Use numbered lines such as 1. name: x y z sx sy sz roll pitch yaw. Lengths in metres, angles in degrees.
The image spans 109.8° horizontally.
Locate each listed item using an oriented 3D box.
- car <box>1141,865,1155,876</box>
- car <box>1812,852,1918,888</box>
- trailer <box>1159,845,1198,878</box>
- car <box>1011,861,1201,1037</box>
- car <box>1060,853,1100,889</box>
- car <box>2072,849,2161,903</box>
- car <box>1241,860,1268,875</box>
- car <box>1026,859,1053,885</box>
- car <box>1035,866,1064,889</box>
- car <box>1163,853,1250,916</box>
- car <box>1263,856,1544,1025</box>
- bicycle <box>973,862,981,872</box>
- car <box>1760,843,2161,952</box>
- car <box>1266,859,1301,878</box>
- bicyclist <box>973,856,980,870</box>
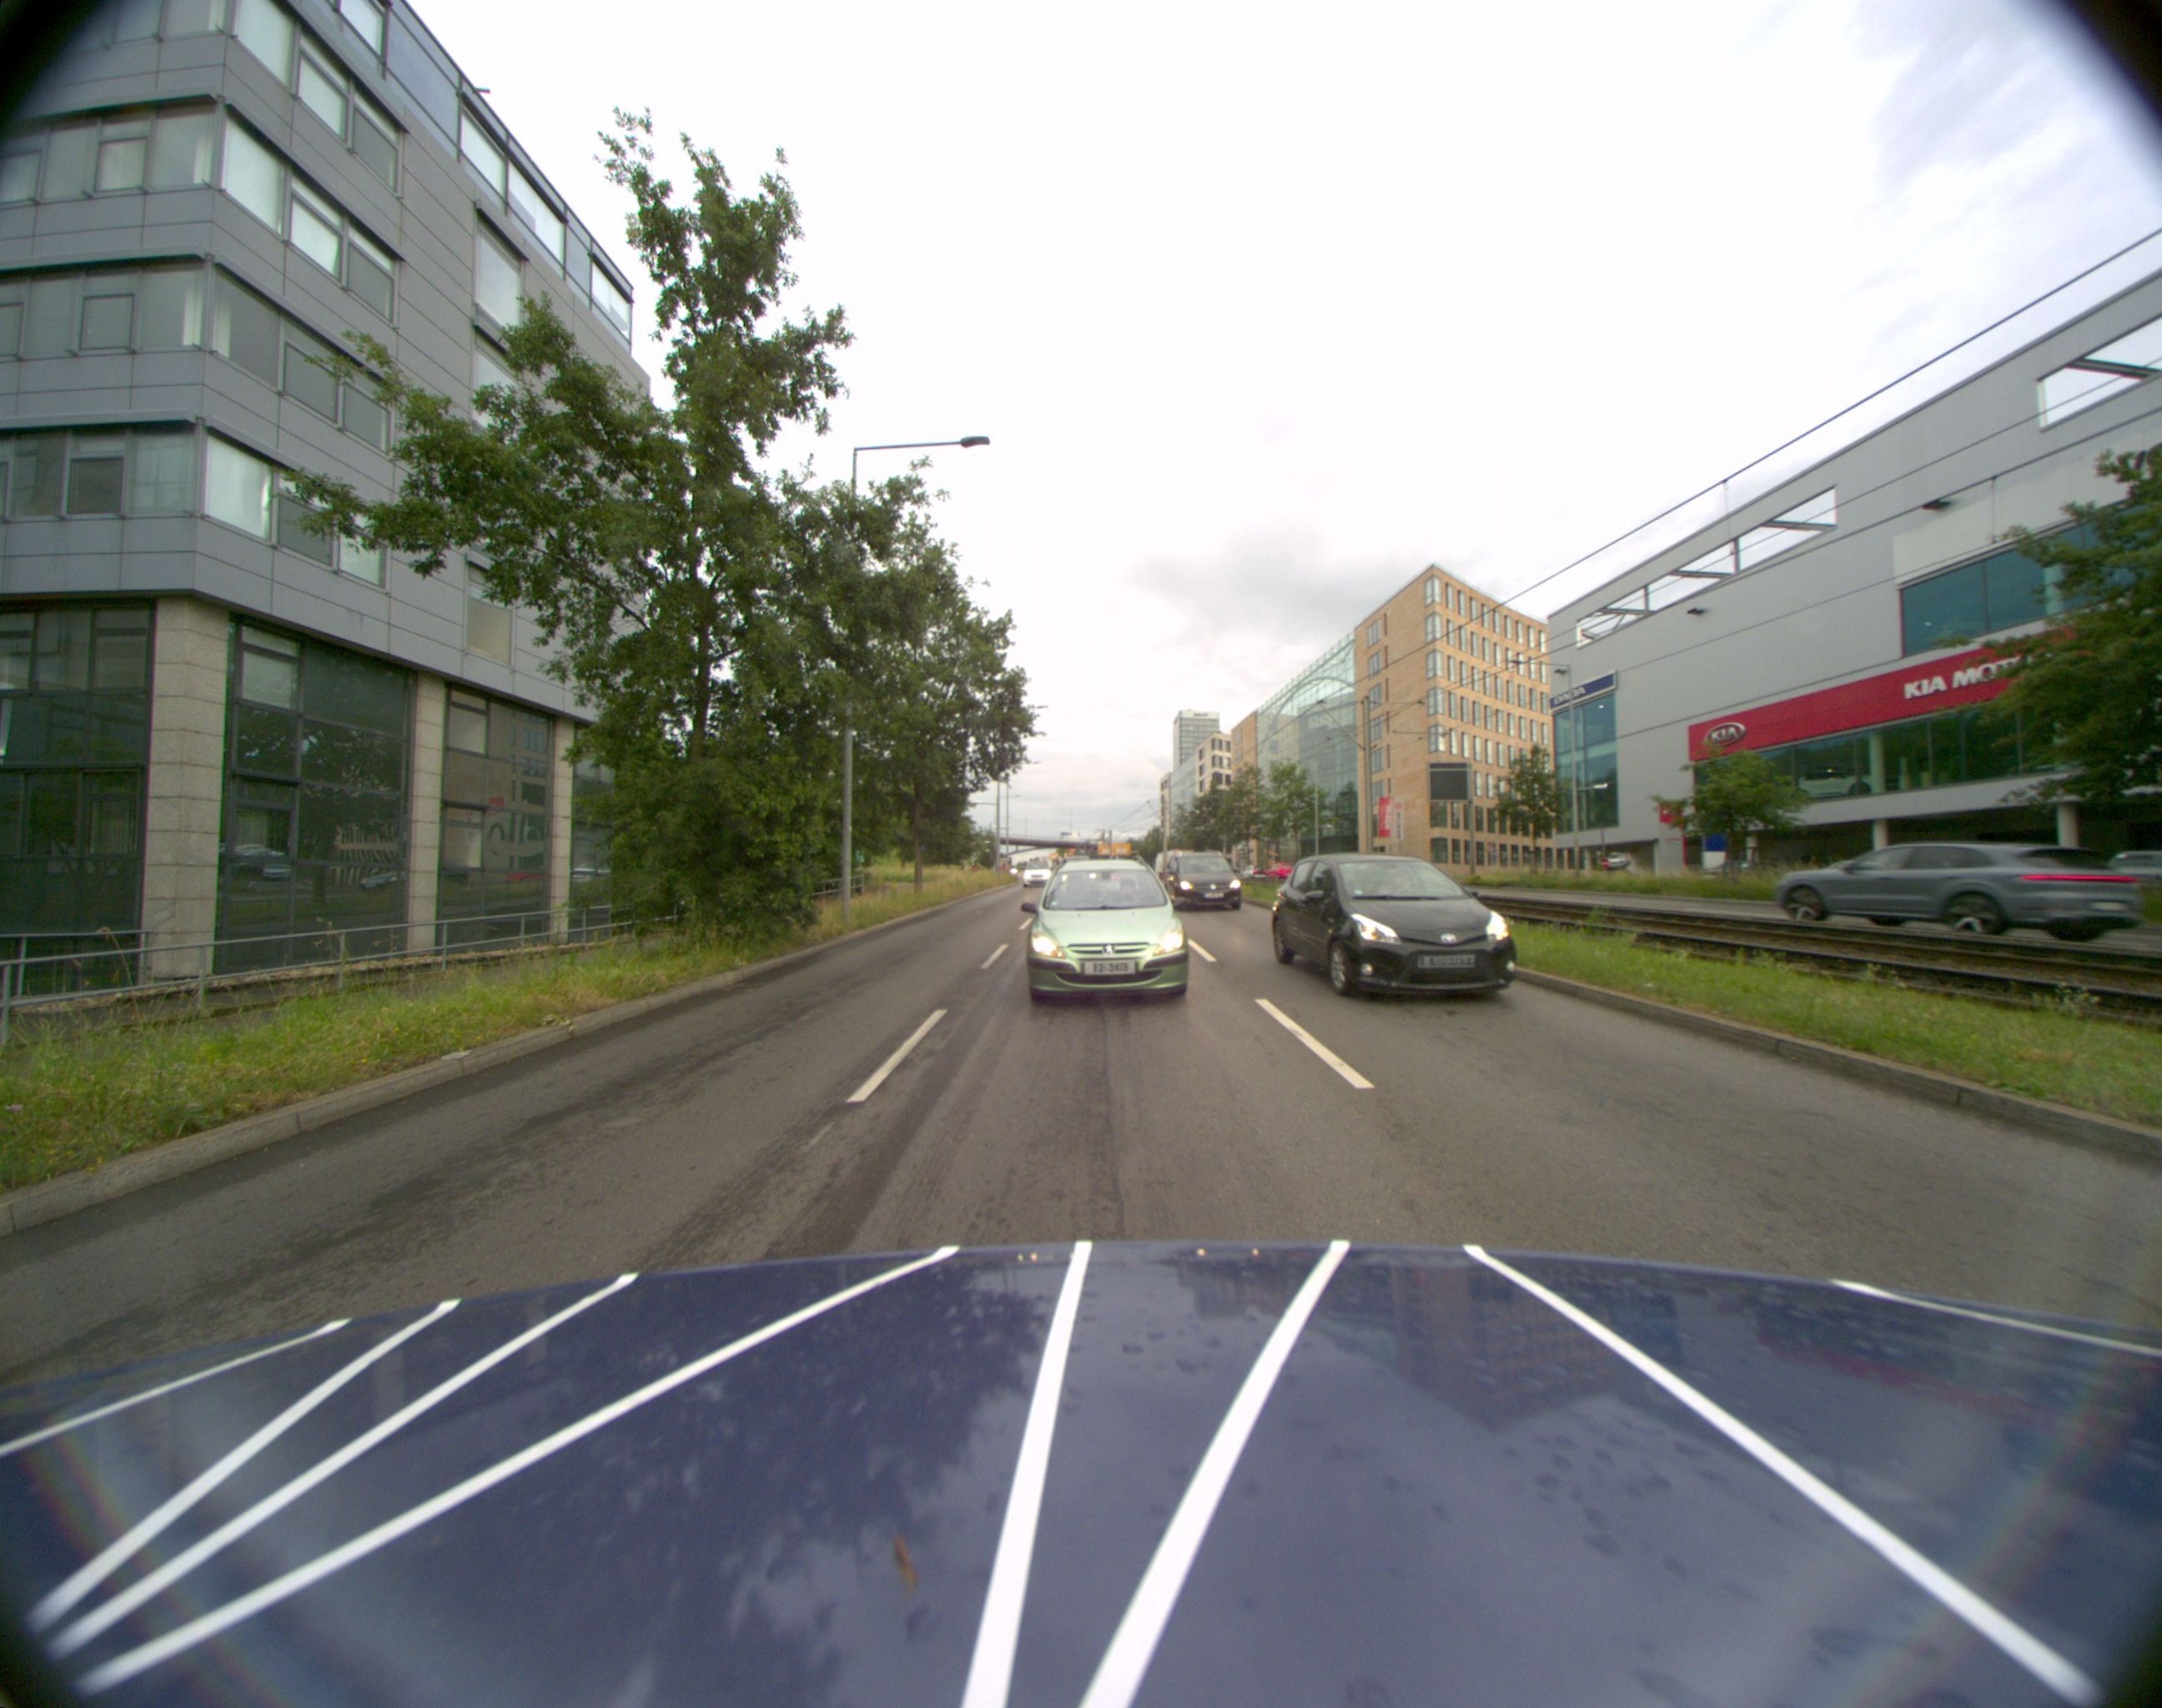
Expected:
1. car: 9.975 2.458 113.298 1.655 1.428 3.879 -1 0 -2
2. car: 31.744 0.616 30.784 3.668 1.181 1.696 -4 0 -22
3. trailer: 13.707 1.005 108.323 3.143 4.304 13.277 2 0 -3
4. car: 0.226 0.893 9.123 1.704 1.523 4.371 -1 0 0
5. car: -0.096 0.774 36.811 1.759 1.649 4.337 -1 0 -1
6. car: 32.027 0.620 22.868 3.528 1.344 1.696 -4 1 -20
7. car: 18.458 1.401 80.822 1.689 1.571 4.098 -1 0 -4
8. car: -2.505 1.052 45.757 1.518 1.495 3.167 -1 0 -4
9. car: -2.263 1.655 54.818 1.828 1.495 3.766 -1 0 1
10. car: 3.555 0.800 22.214 1.786 1.597 4.317 -2 0 0
11. car: 3.451 0.809 8.969 1.704 1.523 3.826 -1 0 0
12. bicycle: -11.847 1.506 86.385 0.582 1.082 1.906 -2 0 1
13. car: 16.106 0.698 14.437 1.999 1.709 4.840 1 0 -2
14. car: 16.772 1.185 63.203 1.589 1.504 4.100 1 0 -4
15. bicyclist: -11.848 0.983 86.380 0.647 1.569 0.855 -2 0 1
